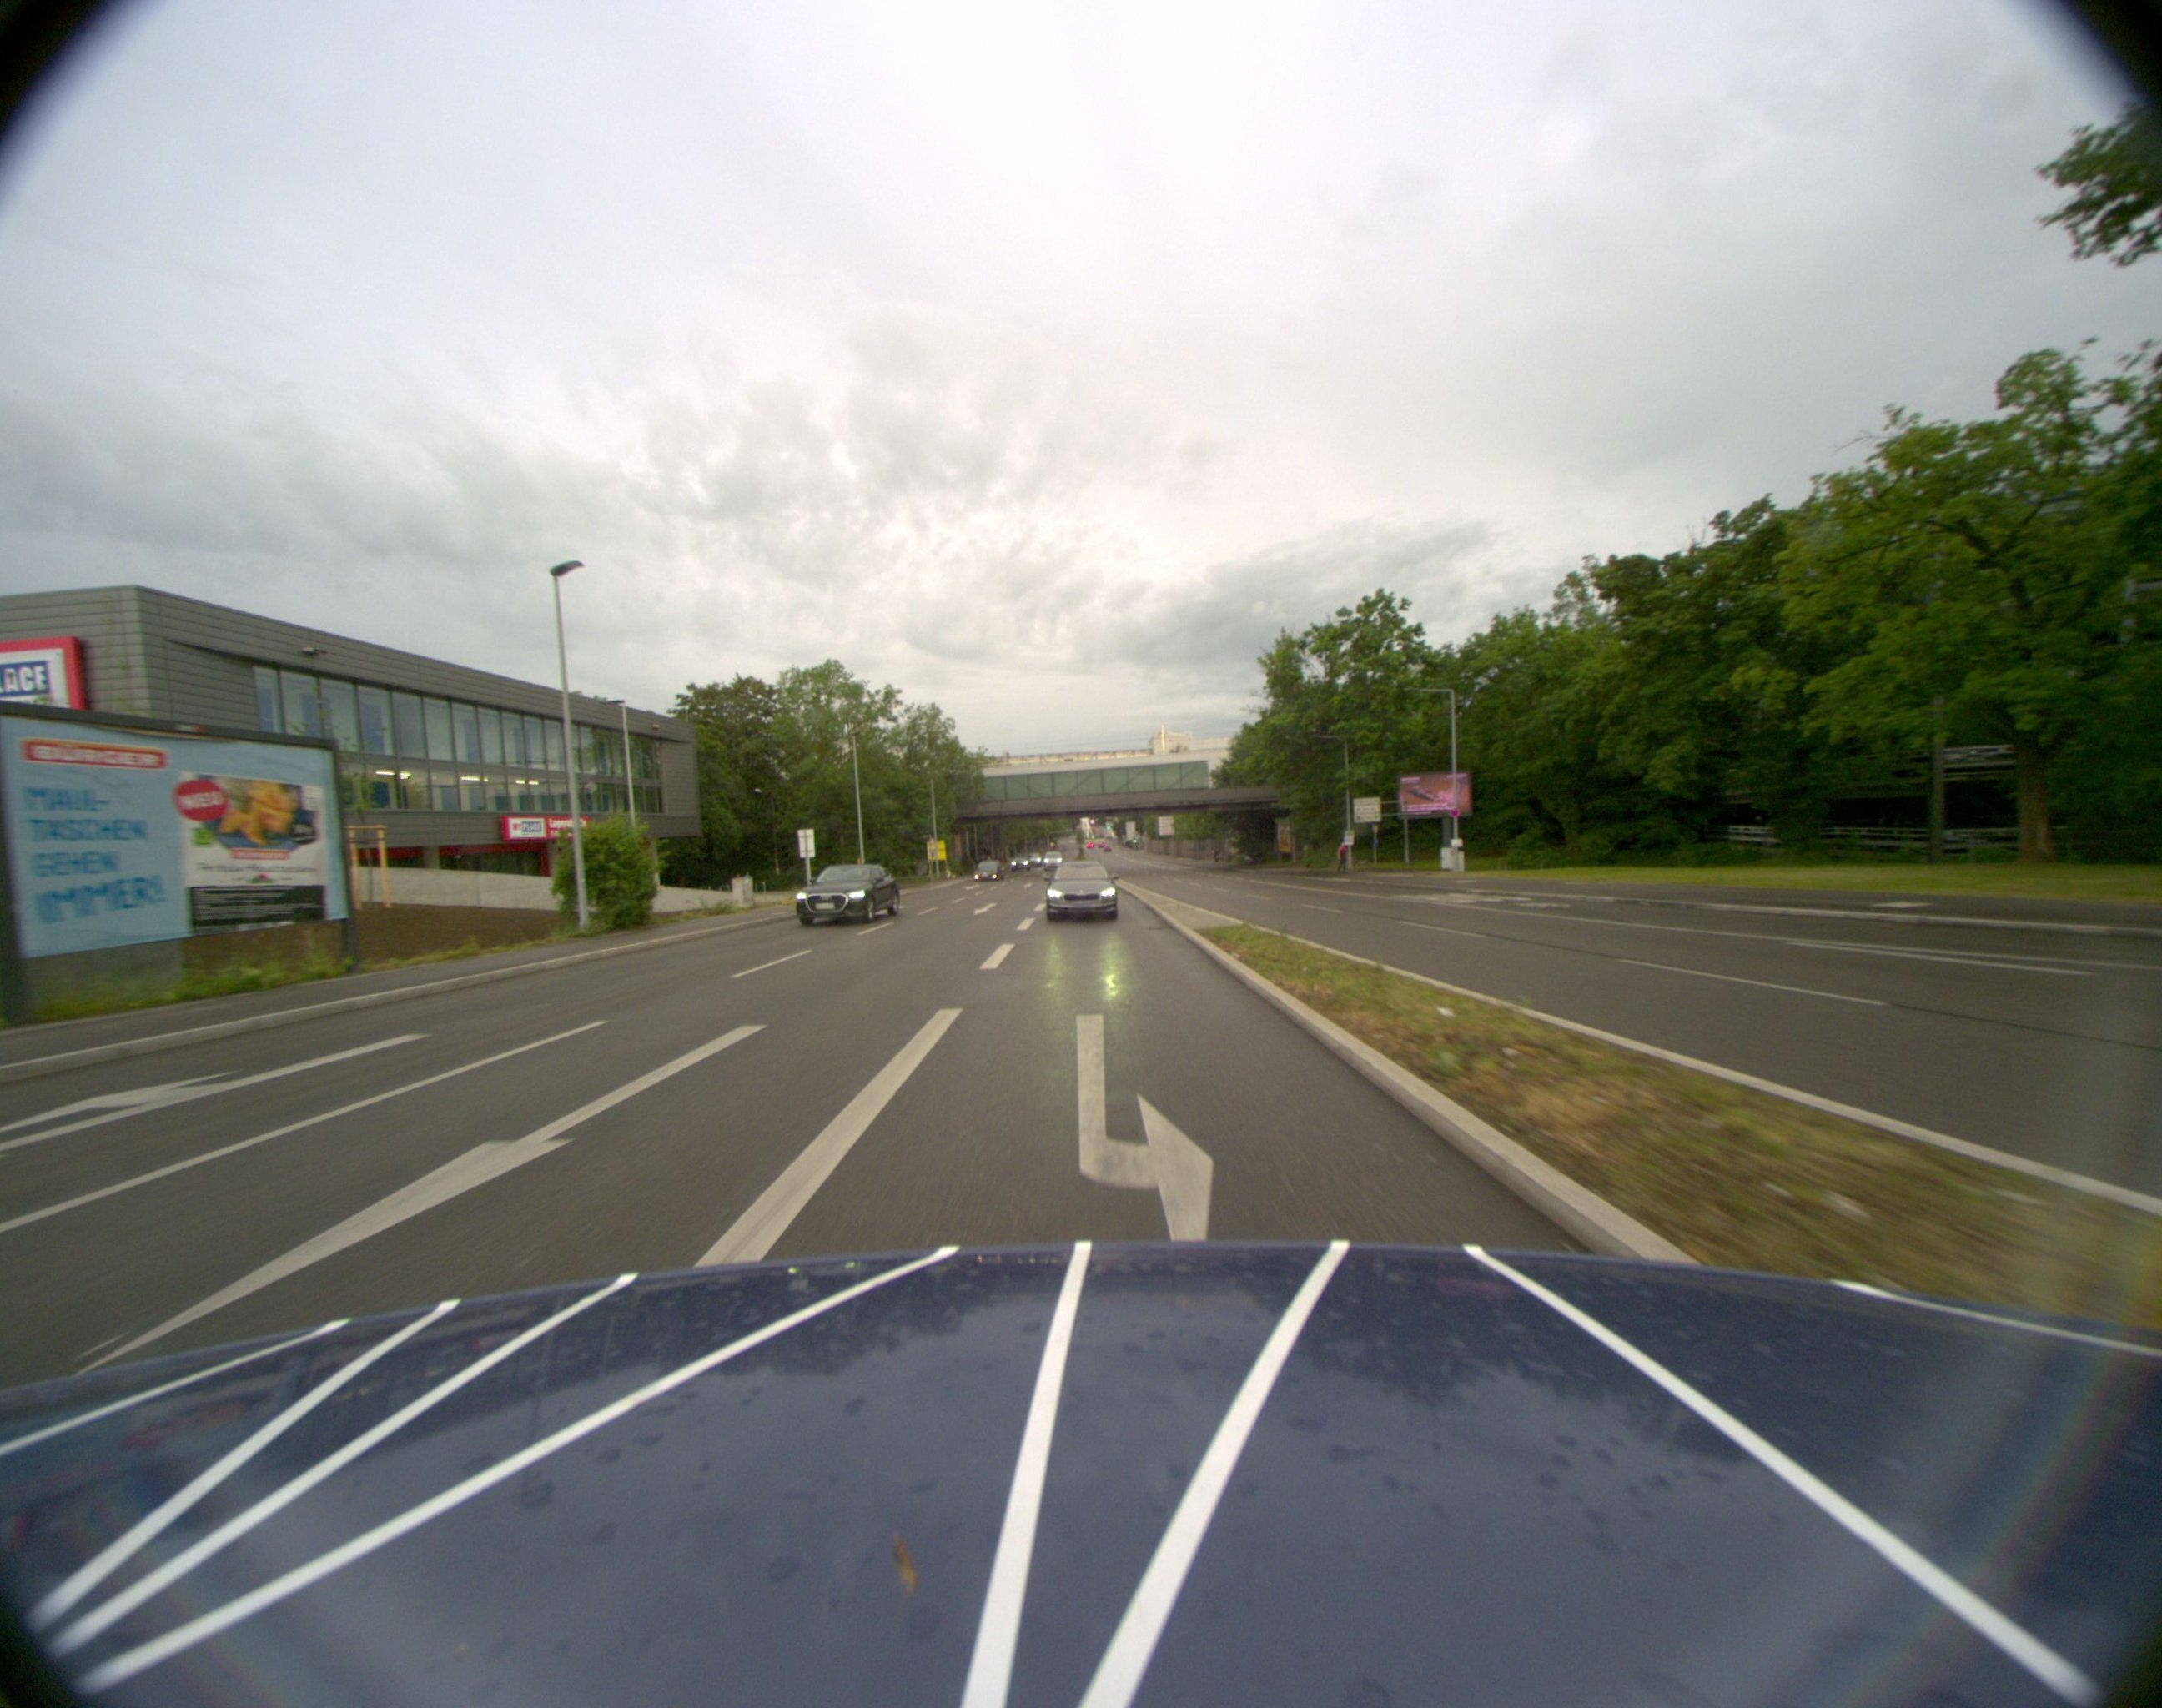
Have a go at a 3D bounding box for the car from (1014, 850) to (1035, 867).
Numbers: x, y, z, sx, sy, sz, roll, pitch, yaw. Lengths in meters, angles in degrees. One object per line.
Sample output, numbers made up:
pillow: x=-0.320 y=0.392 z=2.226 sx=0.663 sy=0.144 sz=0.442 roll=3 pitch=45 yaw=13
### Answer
car: x=-6.087 y=0.428 z=82.232 sx=1.825 sy=1.581 sz=4.331 roll=-3 pitch=2 yaw=0

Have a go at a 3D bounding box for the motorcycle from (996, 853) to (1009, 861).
motorcycle: x=-11.791 y=0.410 z=113.615 sx=1.855 sy=1.184 sz=0.521 roll=-3 pitch=1 yaw=-15

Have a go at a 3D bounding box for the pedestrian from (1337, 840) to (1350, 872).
pedestrian: x=15.144 y=0.112 z=43.908 sx=0.520 sy=1.805 sz=0.800 roll=-3 pitch=1 yaw=10

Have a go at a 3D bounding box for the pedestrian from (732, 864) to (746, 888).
pedestrian: x=-26.360 y=1.698 z=58.617 sx=0.585 sy=1.805 sz=0.626 roll=-3 pitch=1 yaw=28

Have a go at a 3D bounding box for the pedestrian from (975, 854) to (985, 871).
pedestrian: x=-9.438 y=0.787 z=71.012 sx=0.651 sy=1.587 sz=0.579 roll=-2 pitch=2 yaw=12

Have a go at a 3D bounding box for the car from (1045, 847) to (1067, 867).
car: x=-2.648 y=0.274 z=81.869 sx=2.035 sy=1.920 sz=4.331 roll=-3 pitch=2 yaw=0

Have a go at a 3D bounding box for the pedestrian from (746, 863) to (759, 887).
pedestrian: x=-25.773 y=1.650 z=59.547 sx=0.585 sy=1.805 sz=0.602 roll=-3 pitch=1 yaw=28

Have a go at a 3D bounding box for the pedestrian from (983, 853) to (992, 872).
pedestrian: x=-8.727 y=0.760 z=70.952 sx=0.612 sy=1.711 sz=0.892 roll=-2 pitch=2 yaw=10

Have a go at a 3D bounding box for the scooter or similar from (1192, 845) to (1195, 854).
scooter or similar: x=15.499 y=-0.575 z=104.317 sx=0.312 sy=1.211 sz=1.309 roll=-2 pitch=1 yaw=12

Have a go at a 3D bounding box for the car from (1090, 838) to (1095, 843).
car: x=3.771 y=-4.436 z=256.910 sx=1.589 sy=1.596 sz=3.854 roll=-1 pitch=2 yaw=0

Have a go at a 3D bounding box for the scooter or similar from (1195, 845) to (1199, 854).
scooter or similar: x=15.557 y=-0.629 z=101.888 sx=0.312 sy=1.211 sz=1.308 roll=-2 pitch=1 yaw=5

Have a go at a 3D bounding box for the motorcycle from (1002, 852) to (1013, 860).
motorcycle: x=-12.008 y=0.357 z=123.607 sx=1.656 sy=1.144 sz=0.493 roll=-4 pitch=2 yaw=8

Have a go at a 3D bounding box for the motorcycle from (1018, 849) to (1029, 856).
motorcycle: x=-10.814 y=-0.254 z=143.117 sx=2.012 sy=1.266 sz=0.442 roll=-2 pitch=2 yaw=13

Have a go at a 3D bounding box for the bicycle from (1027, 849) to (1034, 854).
bicycle: x=-10.295 y=-0.464 z=154.971 sx=1.555 sy=0.999 sz=0.393 roll=-2 pitch=2 yaw=0

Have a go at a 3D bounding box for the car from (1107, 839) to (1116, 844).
car: x=8.165 y=-3.313 z=201.221 sx=2.069 sy=1.354 sz=4.755 roll=-2 pitch=1 yaw=-1

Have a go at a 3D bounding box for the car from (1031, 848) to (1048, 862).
car: x=-5.370 y=0.127 z=98.911 sx=1.820 sy=1.571 sz=4.331 roll=-3 pitch=2 yaw=0

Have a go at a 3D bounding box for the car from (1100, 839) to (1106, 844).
car: x=7.363 y=-4.209 z=255.273 sx=1.720 sy=1.429 sz=3.770 roll=-1 pitch=2 yaw=-1

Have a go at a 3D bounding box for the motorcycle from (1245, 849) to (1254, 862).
motorcycle: x=15.213 y=0.131 z=68.791 sx=0.469 sy=1.152 sz=1.932 roll=-2 pitch=1 yaw=3

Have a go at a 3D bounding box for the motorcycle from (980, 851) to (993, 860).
motorcycle: x=-15.469 y=0.236 z=124.407 sx=1.934 sy=1.357 sz=0.506 roll=-5 pitch=2 yaw=-5

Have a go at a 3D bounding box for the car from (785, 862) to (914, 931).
car: x=-6.217 y=1.059 z=21.221 sx=1.820 sy=1.536 sz=5.608 roll=-2 pitch=0 yaw=0

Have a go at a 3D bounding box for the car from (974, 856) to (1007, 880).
car: x=-6.469 y=0.972 z=54.942 sx=1.749 sy=1.422 sz=4.515 roll=-4 pitch=2 yaw=0

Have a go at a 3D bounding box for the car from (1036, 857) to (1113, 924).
car: x=-0.142 y=0.881 z=20.214 sx=1.820 sy=1.536 sz=4.063 roll=-2 pitch=0 yaw=0

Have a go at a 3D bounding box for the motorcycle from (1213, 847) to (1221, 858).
motorcycle: x=15.401 y=-0.141 z=85.989 sx=0.470 sy=1.198 sz=1.996 roll=-2 pitch=1 yaw=0
